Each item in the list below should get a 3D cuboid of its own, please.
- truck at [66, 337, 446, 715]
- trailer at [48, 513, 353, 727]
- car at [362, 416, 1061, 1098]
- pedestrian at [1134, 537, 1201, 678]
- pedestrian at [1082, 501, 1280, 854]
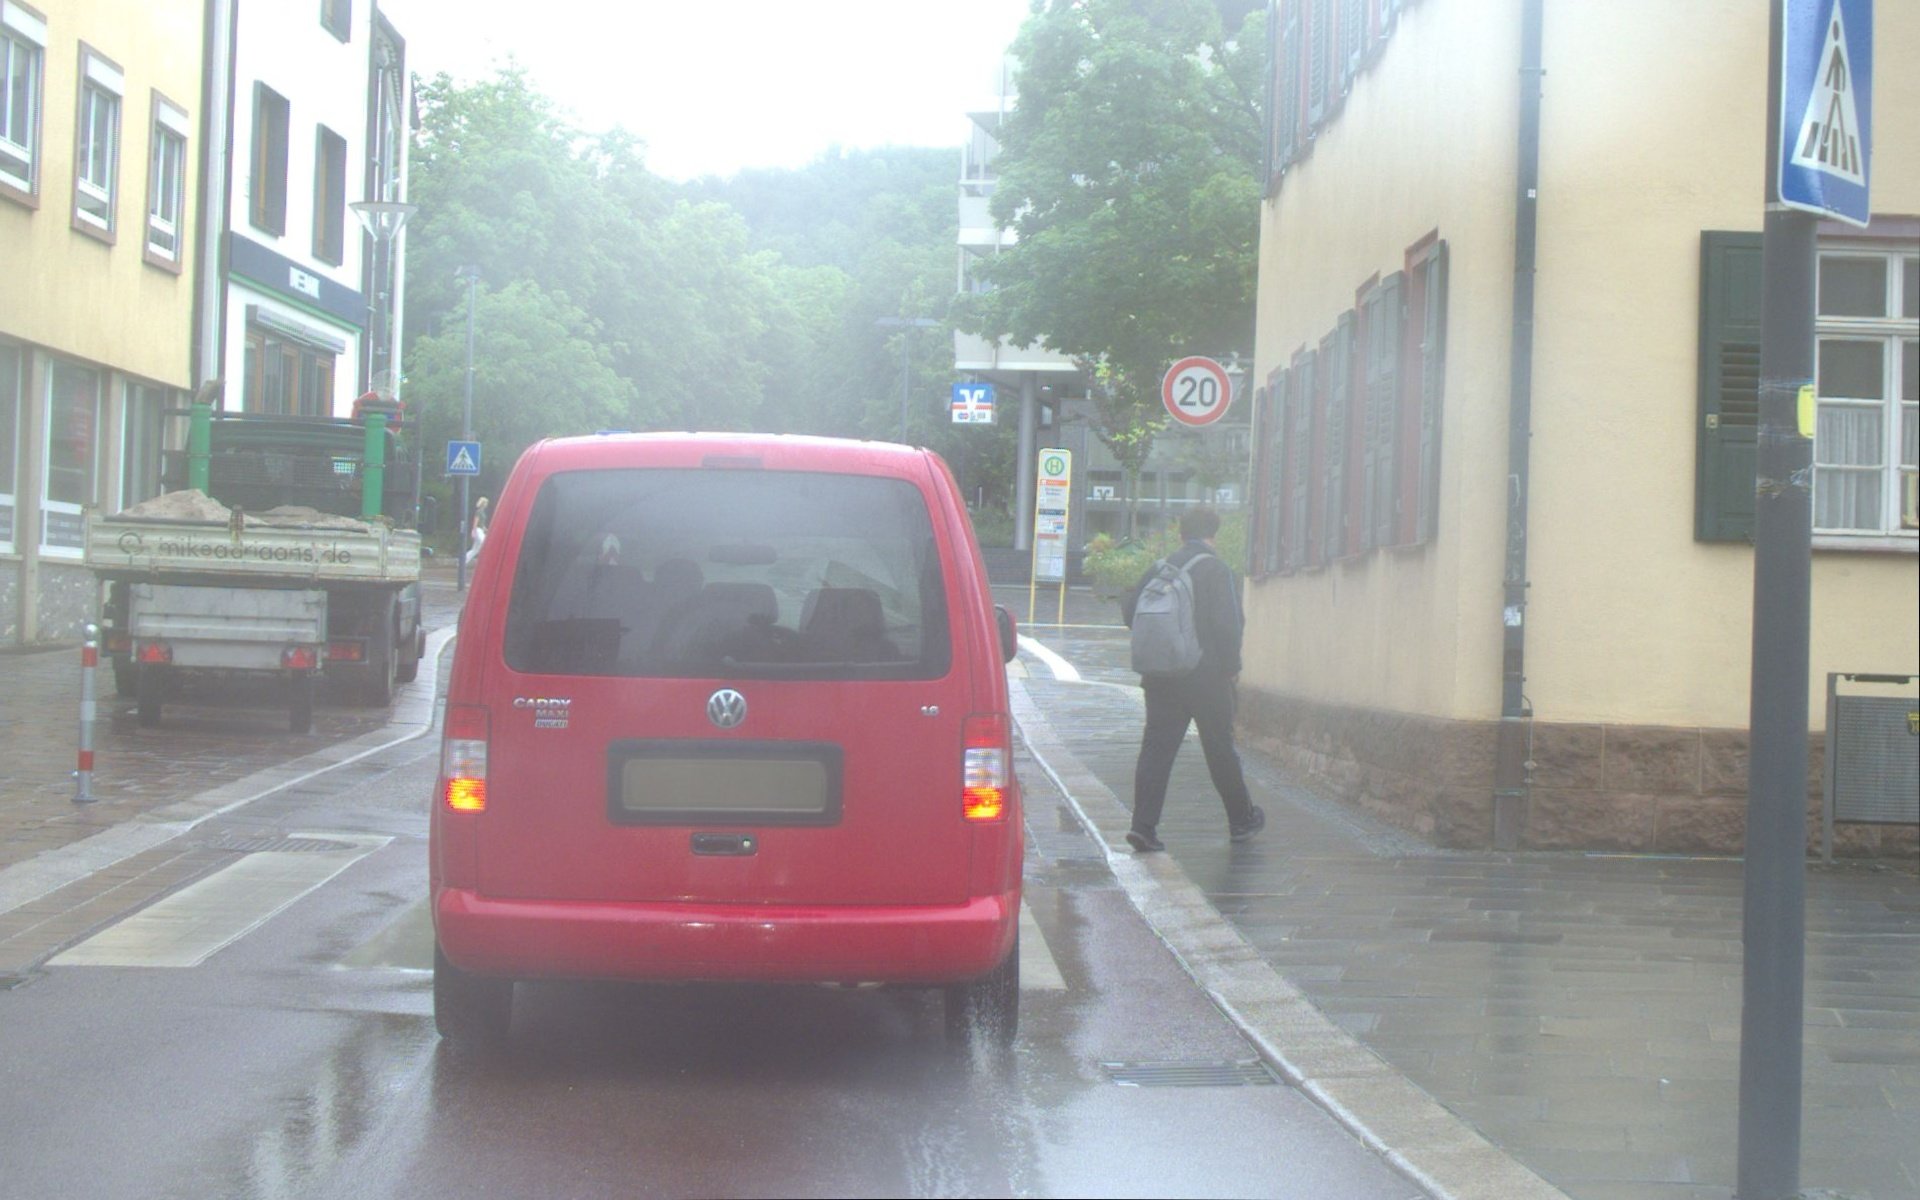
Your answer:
[{"bbox_3d":[-5.751,-0.663,28.983,2.473,2.785,6.601,1,2,-6],"label":"truck"},{"bbox_3d":[-5.265,0.096,24.160,1.727,1.342,3.161,1,2,-6],"label":"trailer"},{"bbox_3d":[-0.837,0.397,11.357,1.862,1.824,4.186,1,1,-5],"label":"car"},{"bbox_3d":[2.405,0.083,39.862,0.728,1.611,0.694,1,0,2],"label":"pedestrian"},{"bbox_3d":[1.108,0.366,17.116,0.715,1.687,0.867,2,1,21],"label":"pedestrian"}]
